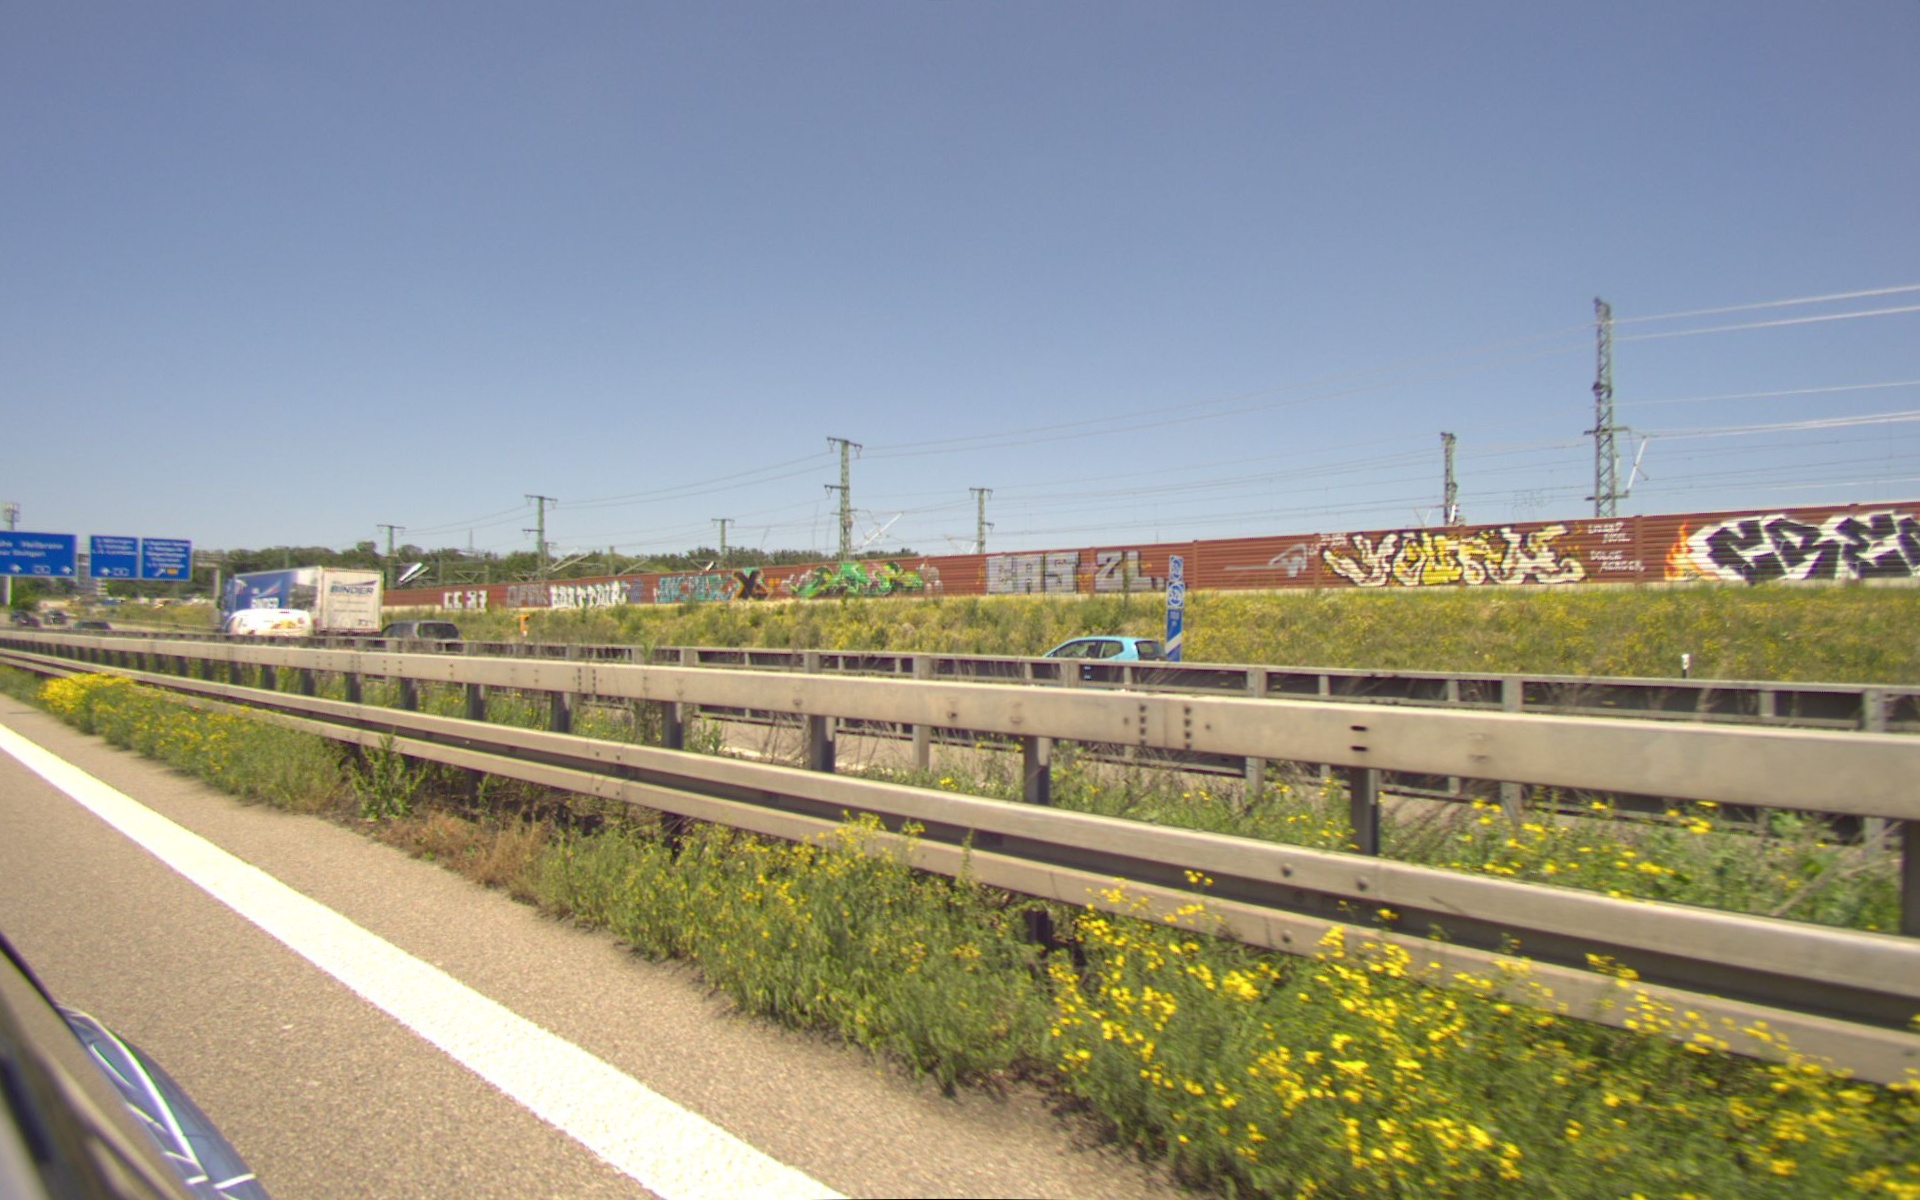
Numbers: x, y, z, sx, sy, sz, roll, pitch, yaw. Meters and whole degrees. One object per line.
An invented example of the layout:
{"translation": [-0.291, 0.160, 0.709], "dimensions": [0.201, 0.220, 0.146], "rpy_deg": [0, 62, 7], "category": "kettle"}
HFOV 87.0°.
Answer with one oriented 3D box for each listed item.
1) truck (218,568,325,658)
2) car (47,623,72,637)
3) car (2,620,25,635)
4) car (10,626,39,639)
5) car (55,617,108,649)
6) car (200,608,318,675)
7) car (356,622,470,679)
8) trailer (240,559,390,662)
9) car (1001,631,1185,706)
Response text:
{"translation": [-36.475, 0.731, 53.486], "dimensions": [7.500, 4.441, 2.858], "rpy_deg": [-1, -2, 42], "category": "truck"}
{"translation": [-117.295, 3.933, 131.834], "dimensions": [4.511, 1.739, 1.973], "rpy_deg": [-1, 0, 41], "category": "car"}
{"translation": [-136.243, 3.987, 145.656], "dimensions": [4.308, 2.029, 1.973], "rpy_deg": [0, 1, 42], "category": "car"}
{"translation": [-106.992, 3.708, 115.739], "dimensions": [3.930, 1.498, 1.972], "rpy_deg": [-1, -2, 42], "category": "car"}
{"translation": [-49.449, 1.824, 56.945], "dimensions": [4.191, 1.646, 1.701], "rpy_deg": [0, 1, 41], "category": "car"}
{"translation": [-20.258, 1.157, 29.167], "dimensions": [4.536, 1.798, 1.797], "rpy_deg": [-1, -1, 42], "category": "car"}
{"translation": [-17.312, 1.533, 31.940], "dimensions": [4.360, 1.660, 1.797], "rpy_deg": [-1, -1, 42], "category": "car"}
{"translation": [-31.439, 0.607, 49.000], "dimensions": [12.086, 4.441, 2.857], "rpy_deg": [-1, -2, 42], "category": "trailer"}
{"translation": [2.954, 1.486, 22.964], "dimensions": [3.834, 1.531, 1.735], "rpy_deg": [-1, -1, 42], "category": "car"}
